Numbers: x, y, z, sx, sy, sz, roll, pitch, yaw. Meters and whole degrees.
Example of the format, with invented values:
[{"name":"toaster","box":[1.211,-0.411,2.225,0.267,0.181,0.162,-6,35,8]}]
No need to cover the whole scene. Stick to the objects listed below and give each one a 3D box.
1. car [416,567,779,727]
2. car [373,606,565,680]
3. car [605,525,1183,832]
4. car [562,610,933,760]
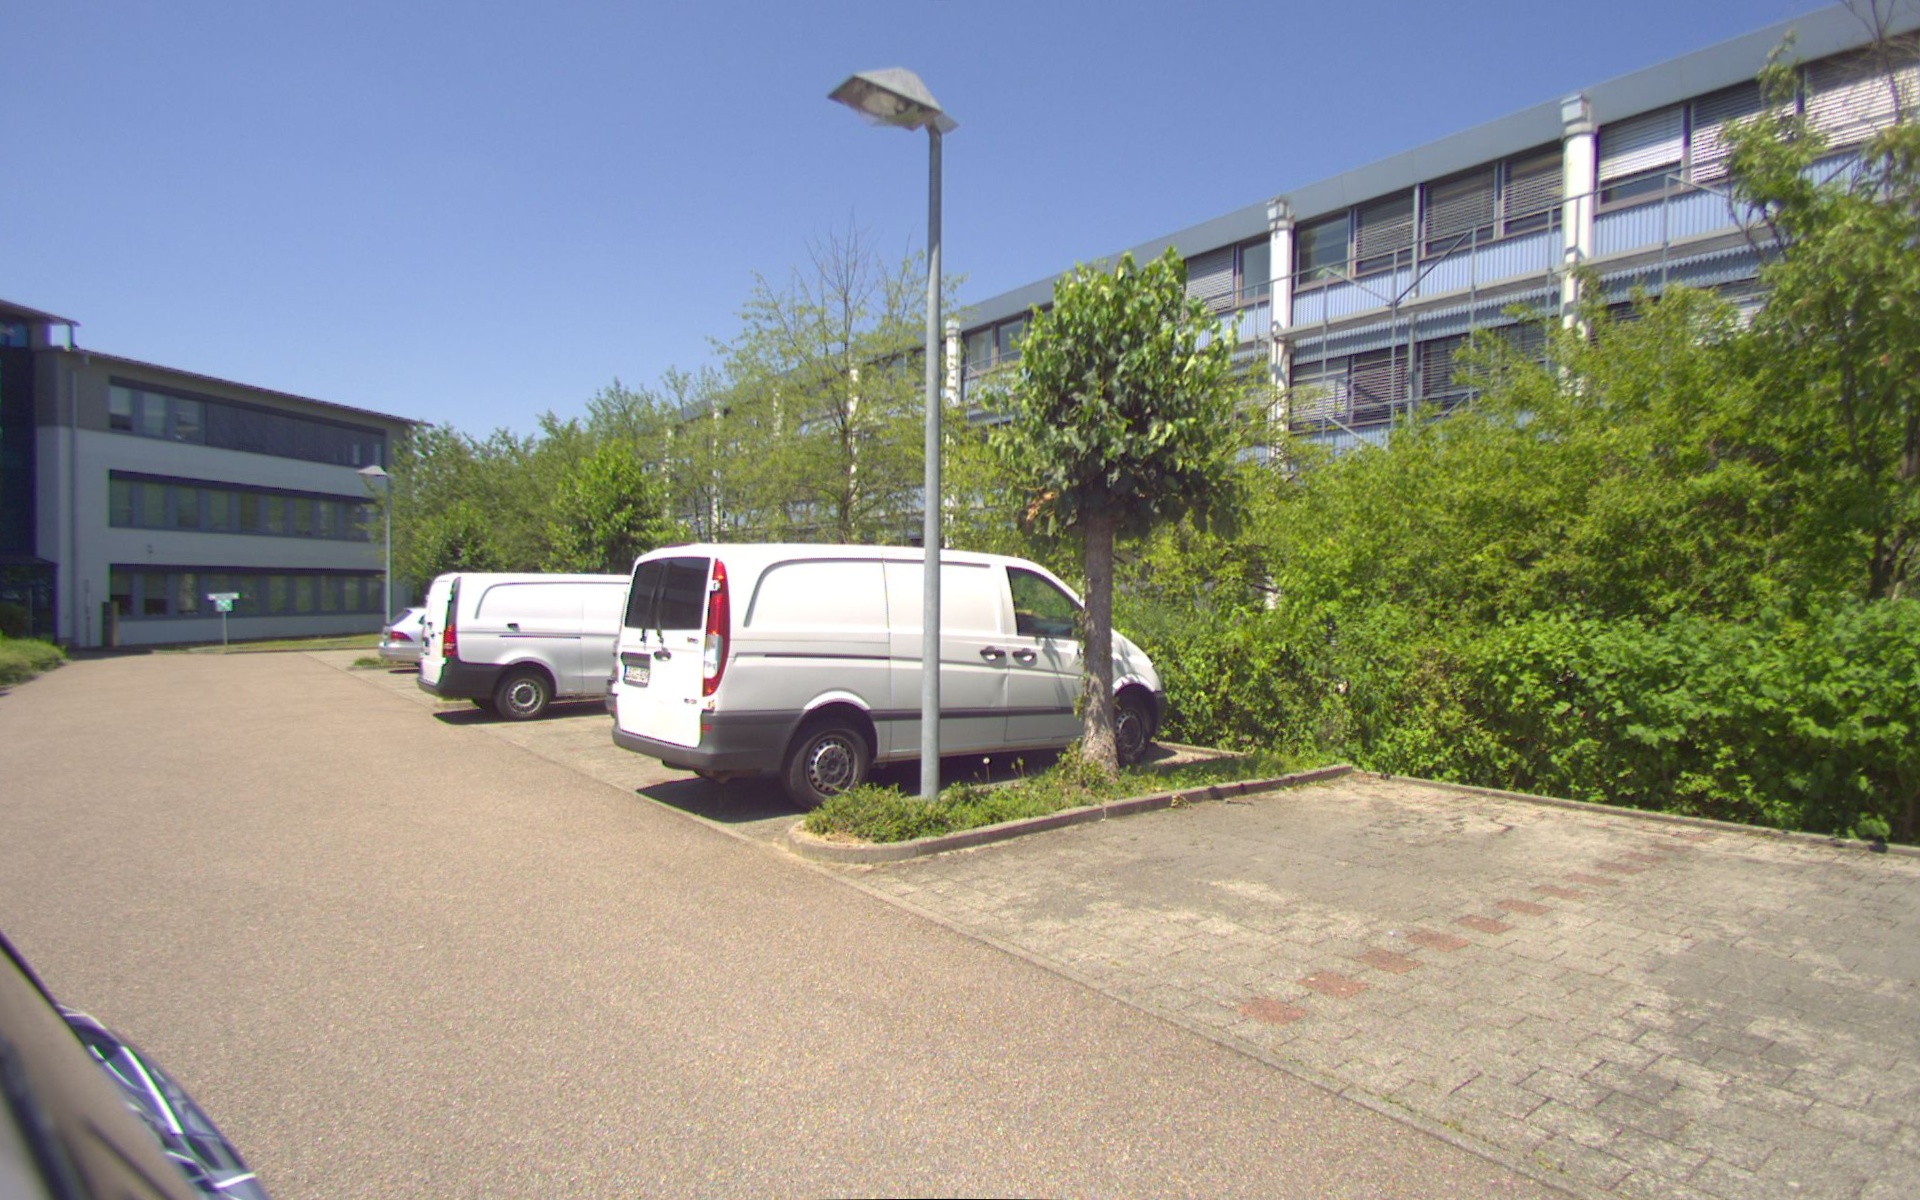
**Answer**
[{"name":"car","box":[-4.955,0.572,14.163,4.448,1.896,1.833,0,-1,-39]},{"name":"car","box":[-11.227,0.927,23.246,3.705,1.569,1.664,0,-1,-39]},{"name":"car","box":[-0.345,0.504,8.520,4.660,1.920,1.833,0,-1,-39]},{"name":"car","box":[-2.283,0.825,11.385,3.790,1.404,1.579,0,-1,-39]}]
